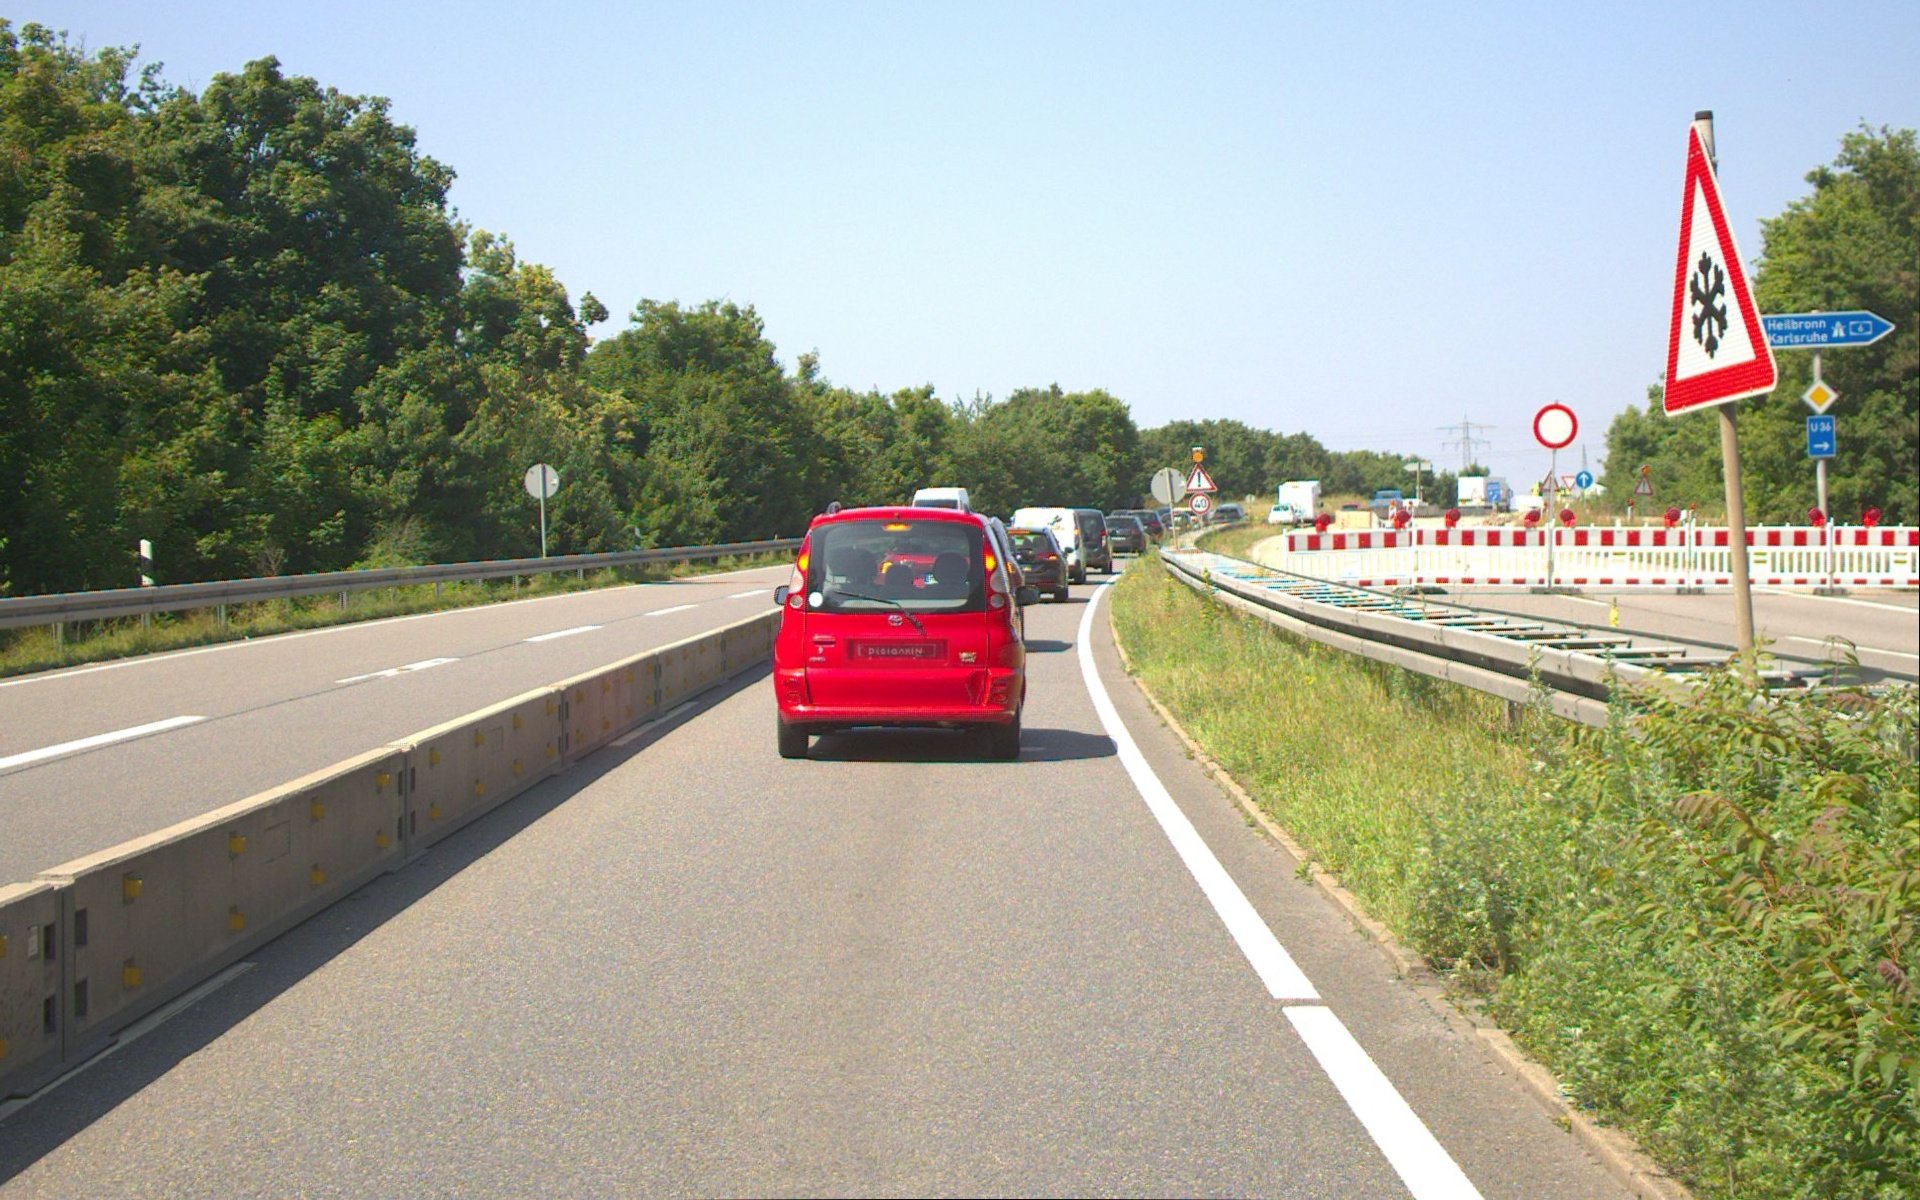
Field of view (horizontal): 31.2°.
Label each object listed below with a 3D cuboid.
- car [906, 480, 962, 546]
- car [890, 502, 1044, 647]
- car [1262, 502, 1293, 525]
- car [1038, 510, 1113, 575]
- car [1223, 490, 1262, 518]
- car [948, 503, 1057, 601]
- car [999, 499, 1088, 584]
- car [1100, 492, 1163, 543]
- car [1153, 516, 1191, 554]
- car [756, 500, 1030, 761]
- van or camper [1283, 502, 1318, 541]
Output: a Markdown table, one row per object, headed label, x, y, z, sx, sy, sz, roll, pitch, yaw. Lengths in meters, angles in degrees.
| label | x | y | z | sx | sy | sz | roll | pitch | yaw |
| --- | --- | --- | --- | --- | --- | --- | --- | --- | --- |
| car | -0.985 | -3.383 | 133.930 | 2.061 | 2.477 | 5.560 | 0 | 1 | 1 |
| car | 0.115 | -0.350 | 43.262 | 1.830 | 1.716 | 4.000 | -1 | 1 | 1 |
| car | 21.076 | -5.713 | 227.829 | 1.994 | 1.481 | 3.999 | -1 | 1 | 6 |
| car | 3.184 | -1.603 | 95.469 | 1.993 | 1.744 | 4.000 | -1 | 1 | 1 |
| car | 15.946 | -5.400 | 193.842 | 1.994 | 1.546 | 3.999 | -1 | 1 | 7 |
| car | 0.855 | -0.946 | 66.783 | 1.993 | 1.831 | 4.000 | 0 | 1 | 2 |
| car | 1.986 | -1.423 | 82.933 | 1.993 | 1.997 | 4.000 | -1 | 1 | 0 |
| car | 6.093 | -2.939 | 122.625 | 1.993 | 1.777 | 4.000 | -1 | 1 | 0 |
| car | 9.760 | -2.993 | 157.998 | 1.502 | 1.730 | 3.169 | -1 | 1 | 7 |
| car | -0.459 | 0.155 | 24.085 | 1.751 | 1.667 | 4.000 | 0 | 1 | -1 |
| van or camper | 23.691 | -5.474 | 239.112 | 2.328 | 2.697 | 4.593 | -1 | 1 | 5 |
